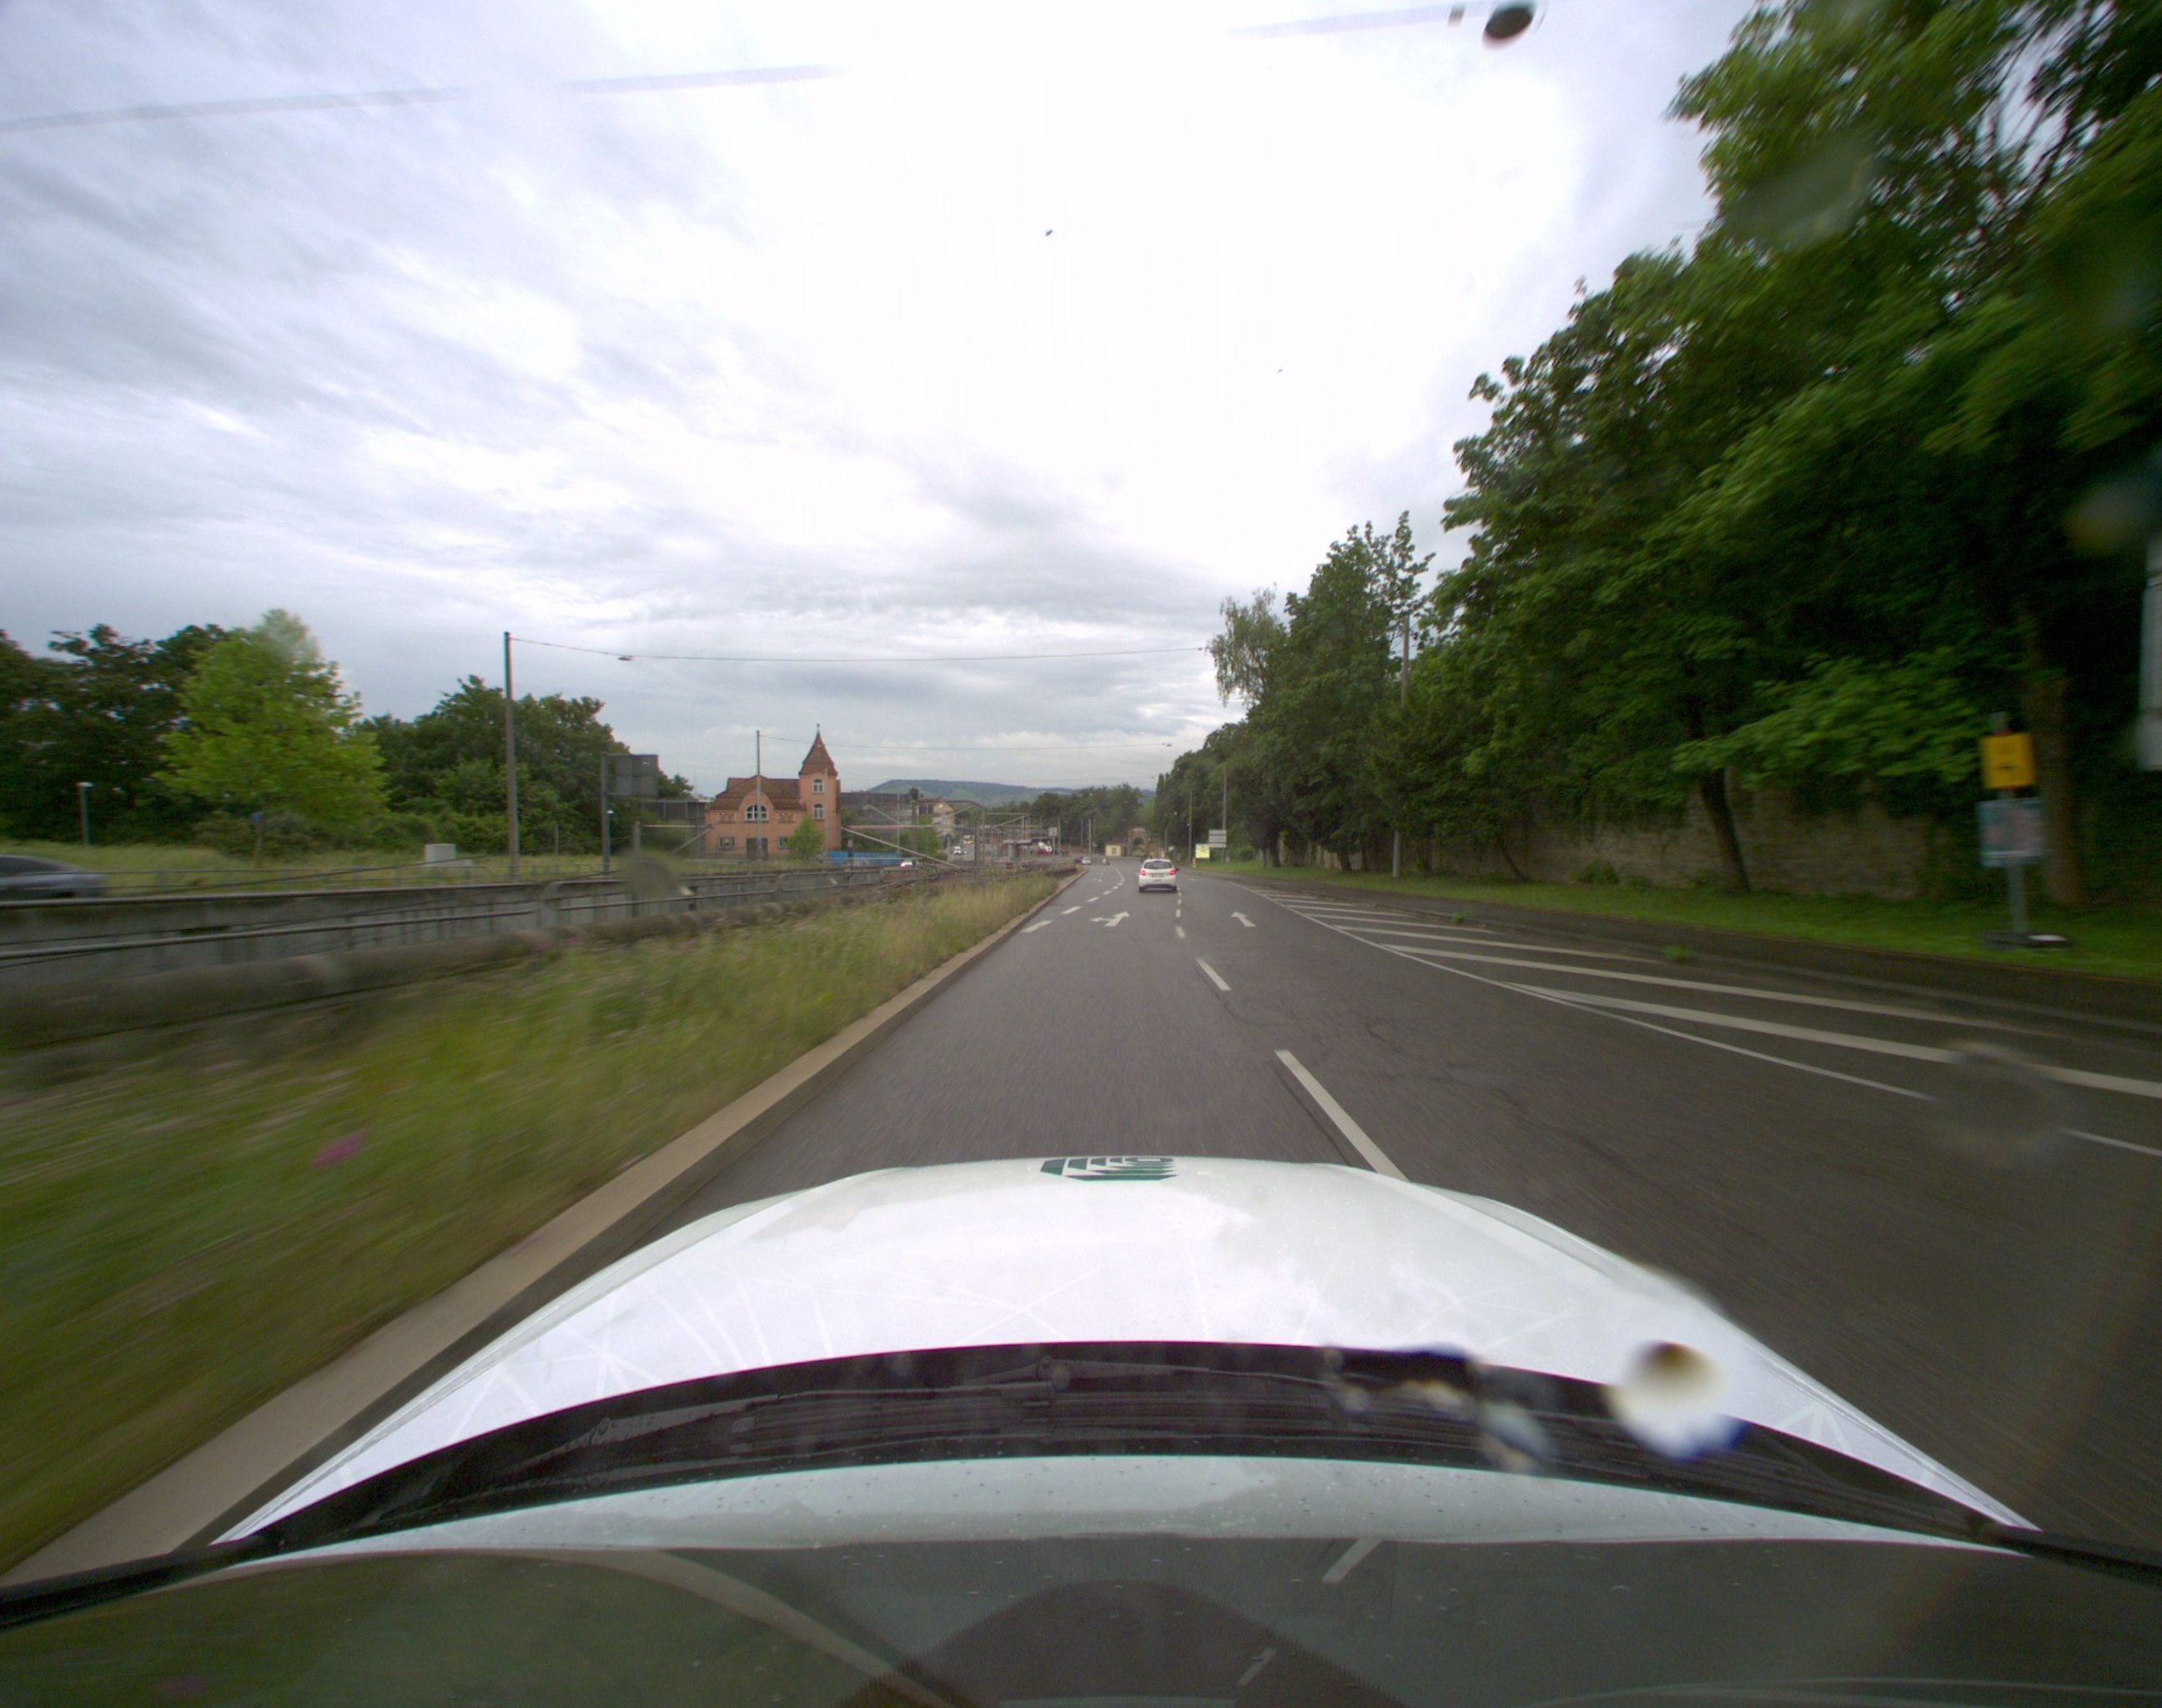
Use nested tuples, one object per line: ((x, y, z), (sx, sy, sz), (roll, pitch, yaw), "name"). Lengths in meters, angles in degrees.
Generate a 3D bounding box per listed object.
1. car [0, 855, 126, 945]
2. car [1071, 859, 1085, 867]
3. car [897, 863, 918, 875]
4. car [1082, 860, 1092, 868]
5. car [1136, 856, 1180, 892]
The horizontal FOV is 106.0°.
((-21.610, 0.877, 15.349), (1.883, 1.644, 4.360), (3, 0, 3), "car")
((-0.649, 1.926, 181.474), (1.998, 1.706, 3.977), (0, 0, -17), "car")
((-20.104, 1.779, 94.409), (1.549, 1.292, 3.561), (1, 0, 3), "car")
((1.303, 2.076, 171.928), (1.815, 1.606, 4.003), (-2, 0, 3), "car")
((3.511, 0.867, 37.061), (1.859, 1.511, 3.906), (-1, 0, 6), "car")
